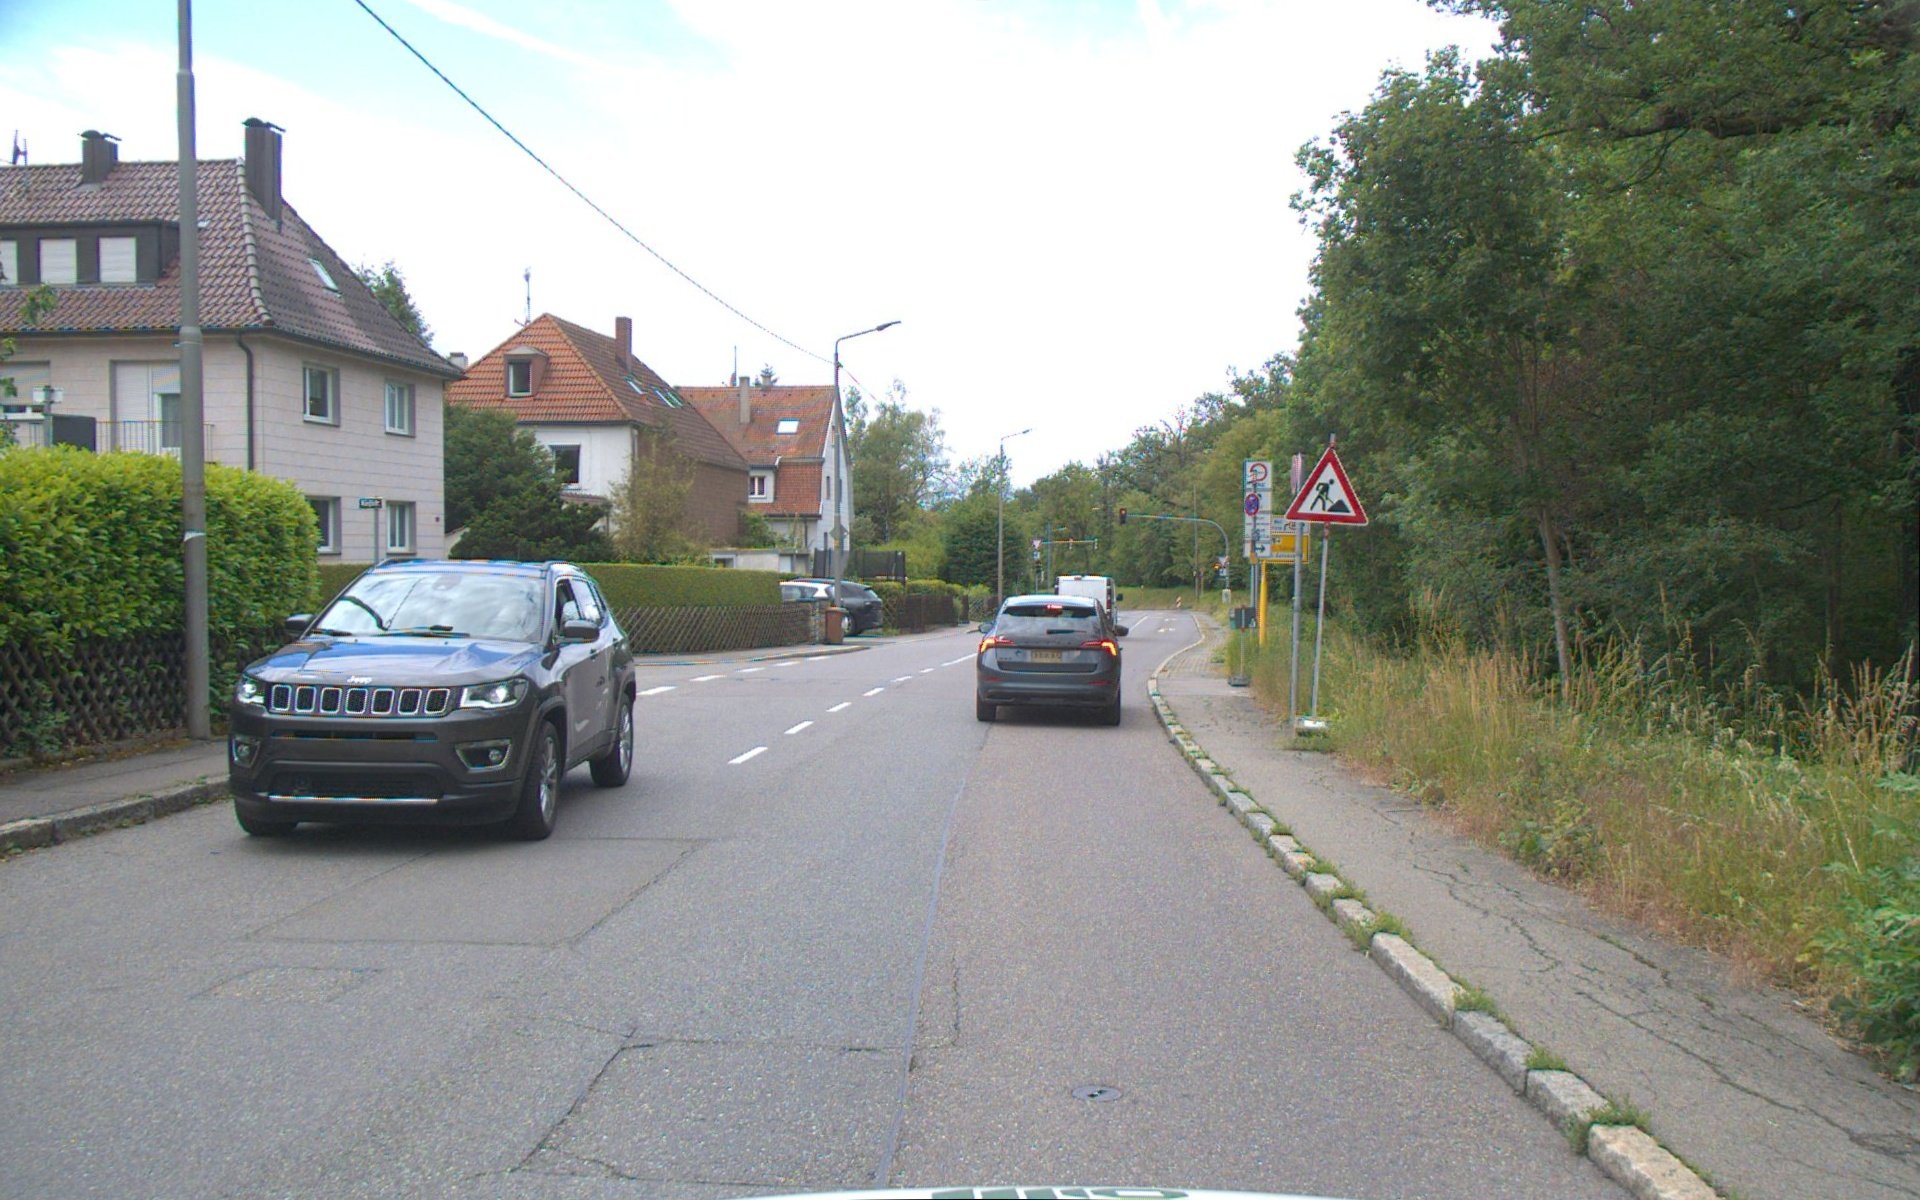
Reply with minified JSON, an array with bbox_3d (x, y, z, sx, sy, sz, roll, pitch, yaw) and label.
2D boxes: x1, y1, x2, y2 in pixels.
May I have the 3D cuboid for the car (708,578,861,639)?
[{"bbox_3d":[-4.824,0.219,45.897,3.902,1.646,2.001,0,0,5],"label":"car"}]

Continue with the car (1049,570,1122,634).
[{"bbox_3d":[3.974,0.052,53.142,2.029,1.956,4.923,1,0,1],"label":"car"}]

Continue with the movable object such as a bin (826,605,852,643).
[{"bbox_3d":[-3.092,0.614,42.378,0.586,0.967,0.579,0,0,3],"label":"movable object such as a bin"}]

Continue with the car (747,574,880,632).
[{"bbox_3d":[-4.459,0.074,50.813,3.905,1.735,1.916,0,0,-1],"label":"car"}]

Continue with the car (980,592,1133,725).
[{"bbox_3d":[1.228,0.647,20.688,1.691,1.464,4.326,1,0,4],"label":"car"}]

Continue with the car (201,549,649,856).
[{"bbox_3d":[-3.250,0.514,10.974,1.797,1.625,4.321,1,1,-4],"label":"car"}]
